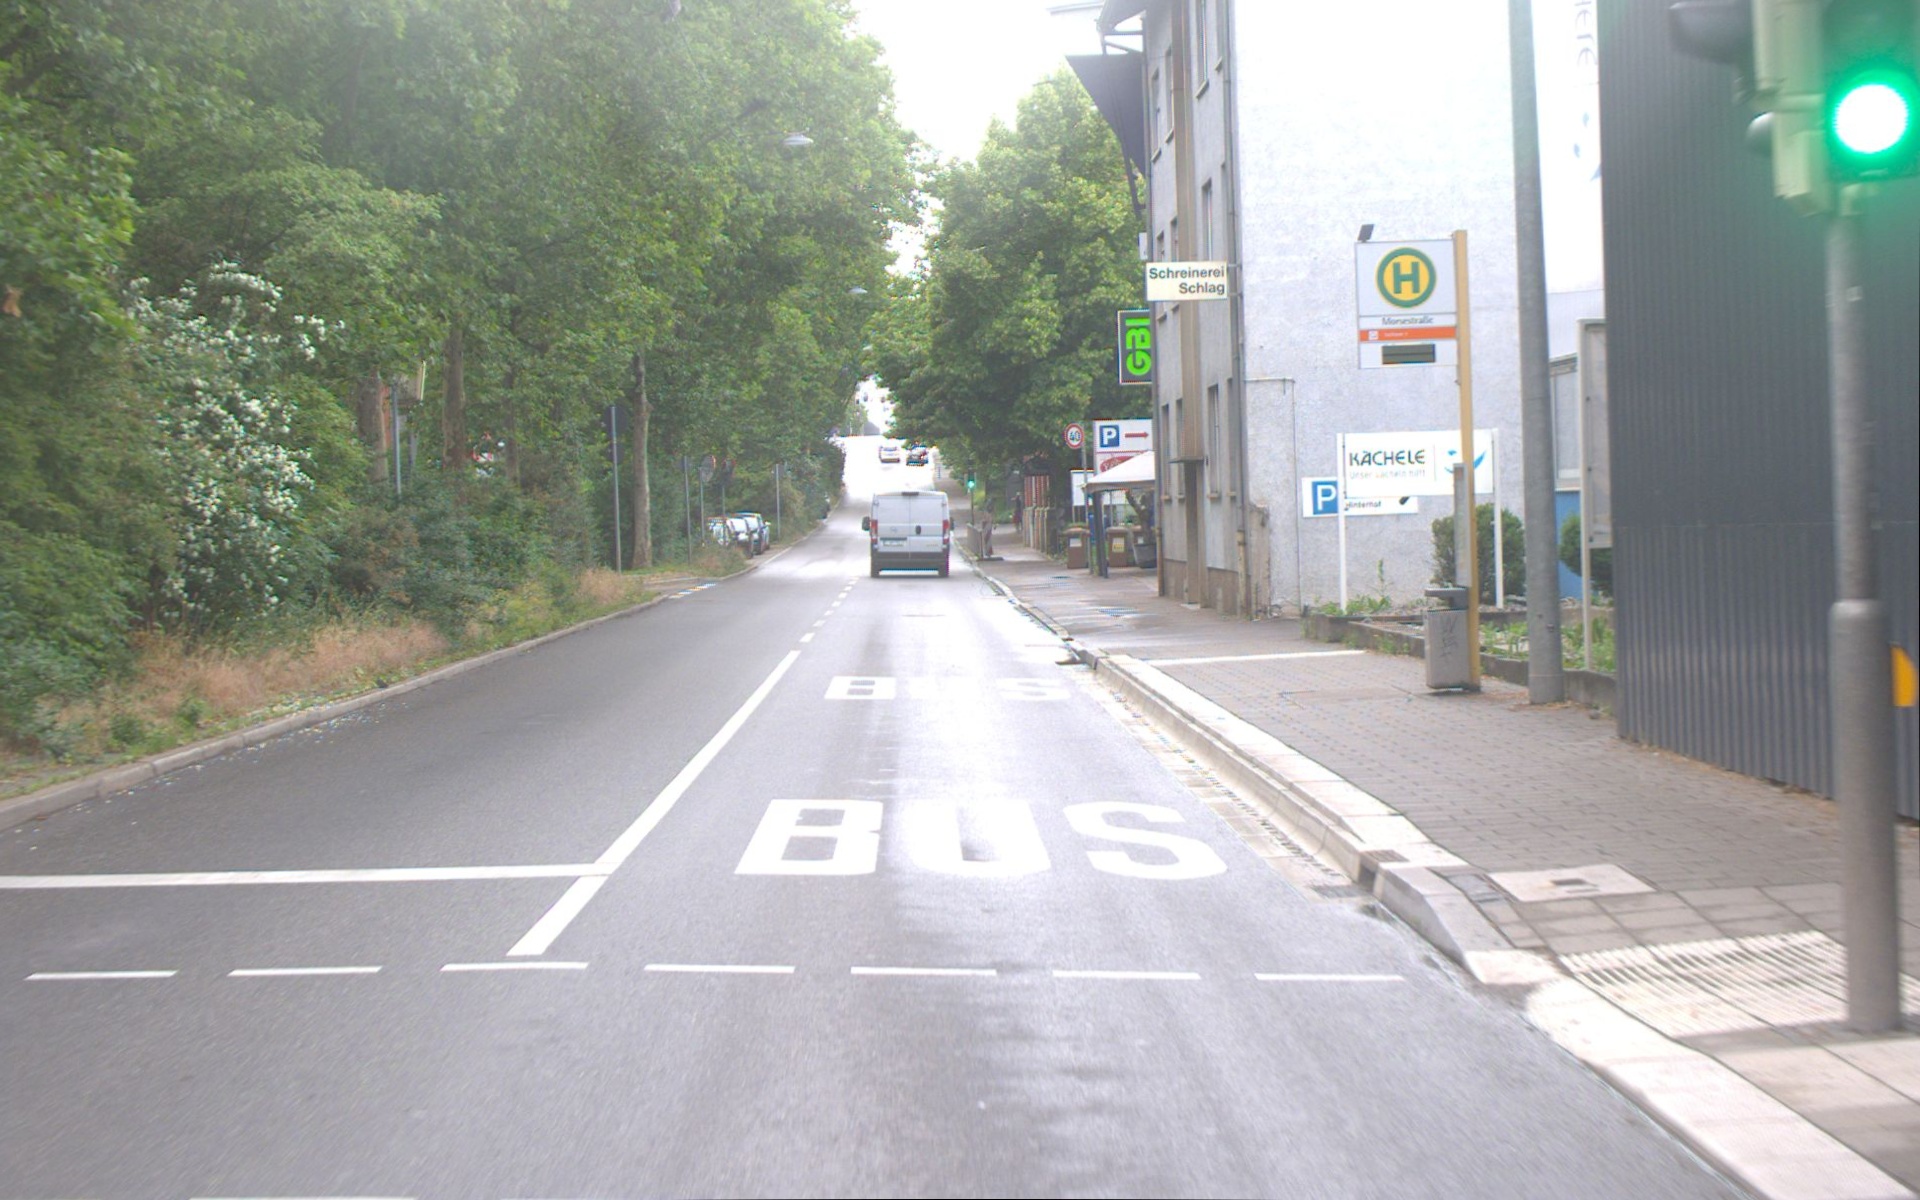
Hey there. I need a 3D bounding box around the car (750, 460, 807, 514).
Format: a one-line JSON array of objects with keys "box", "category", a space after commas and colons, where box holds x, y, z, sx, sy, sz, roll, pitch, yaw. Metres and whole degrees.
[{"box": [-8.223, -5.106, 156.299, 2.215, 2.286, 4.609, 0, 0, 1], "category": "car"}]

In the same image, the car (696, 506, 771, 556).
[{"box": [-7.891, -2.398, 120.201, 2.215, 1.587, 4.609, 0, 0, 1], "category": "car"}]

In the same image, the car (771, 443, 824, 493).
[{"box": [-7.830, -6.366, 166.010, 2.215, 2.286, 4.609, 0, 0, 1], "category": "car"}]

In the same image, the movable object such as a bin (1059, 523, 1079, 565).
[{"box": [2.870, -1.482, 90.855, 0.399, 1.063, 0.358, -5, 0, -7], "category": "movable object such as a bin"}]

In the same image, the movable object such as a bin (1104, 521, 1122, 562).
[{"box": [4.044, -1.548, 91.011, 0.399, 1.063, 0.358, -1, 0, -7], "category": "movable object such as a bin"}]

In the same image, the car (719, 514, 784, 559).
[{"box": [-8.415, -2.550, 139.234, 2.215, 1.685, 4.609, 0, 0, 1], "category": "car"}]

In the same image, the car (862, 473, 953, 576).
[{"box": [-1.367, -1.942, 89.726, 2.282, 2.544, 4.000, -1, 0, 0], "category": "car"}]

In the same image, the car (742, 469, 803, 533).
[{"box": [-7.878, -4.155, 144.800, 2.215, 2.525, 4.609, 0, 0, 1], "category": "car"}]
